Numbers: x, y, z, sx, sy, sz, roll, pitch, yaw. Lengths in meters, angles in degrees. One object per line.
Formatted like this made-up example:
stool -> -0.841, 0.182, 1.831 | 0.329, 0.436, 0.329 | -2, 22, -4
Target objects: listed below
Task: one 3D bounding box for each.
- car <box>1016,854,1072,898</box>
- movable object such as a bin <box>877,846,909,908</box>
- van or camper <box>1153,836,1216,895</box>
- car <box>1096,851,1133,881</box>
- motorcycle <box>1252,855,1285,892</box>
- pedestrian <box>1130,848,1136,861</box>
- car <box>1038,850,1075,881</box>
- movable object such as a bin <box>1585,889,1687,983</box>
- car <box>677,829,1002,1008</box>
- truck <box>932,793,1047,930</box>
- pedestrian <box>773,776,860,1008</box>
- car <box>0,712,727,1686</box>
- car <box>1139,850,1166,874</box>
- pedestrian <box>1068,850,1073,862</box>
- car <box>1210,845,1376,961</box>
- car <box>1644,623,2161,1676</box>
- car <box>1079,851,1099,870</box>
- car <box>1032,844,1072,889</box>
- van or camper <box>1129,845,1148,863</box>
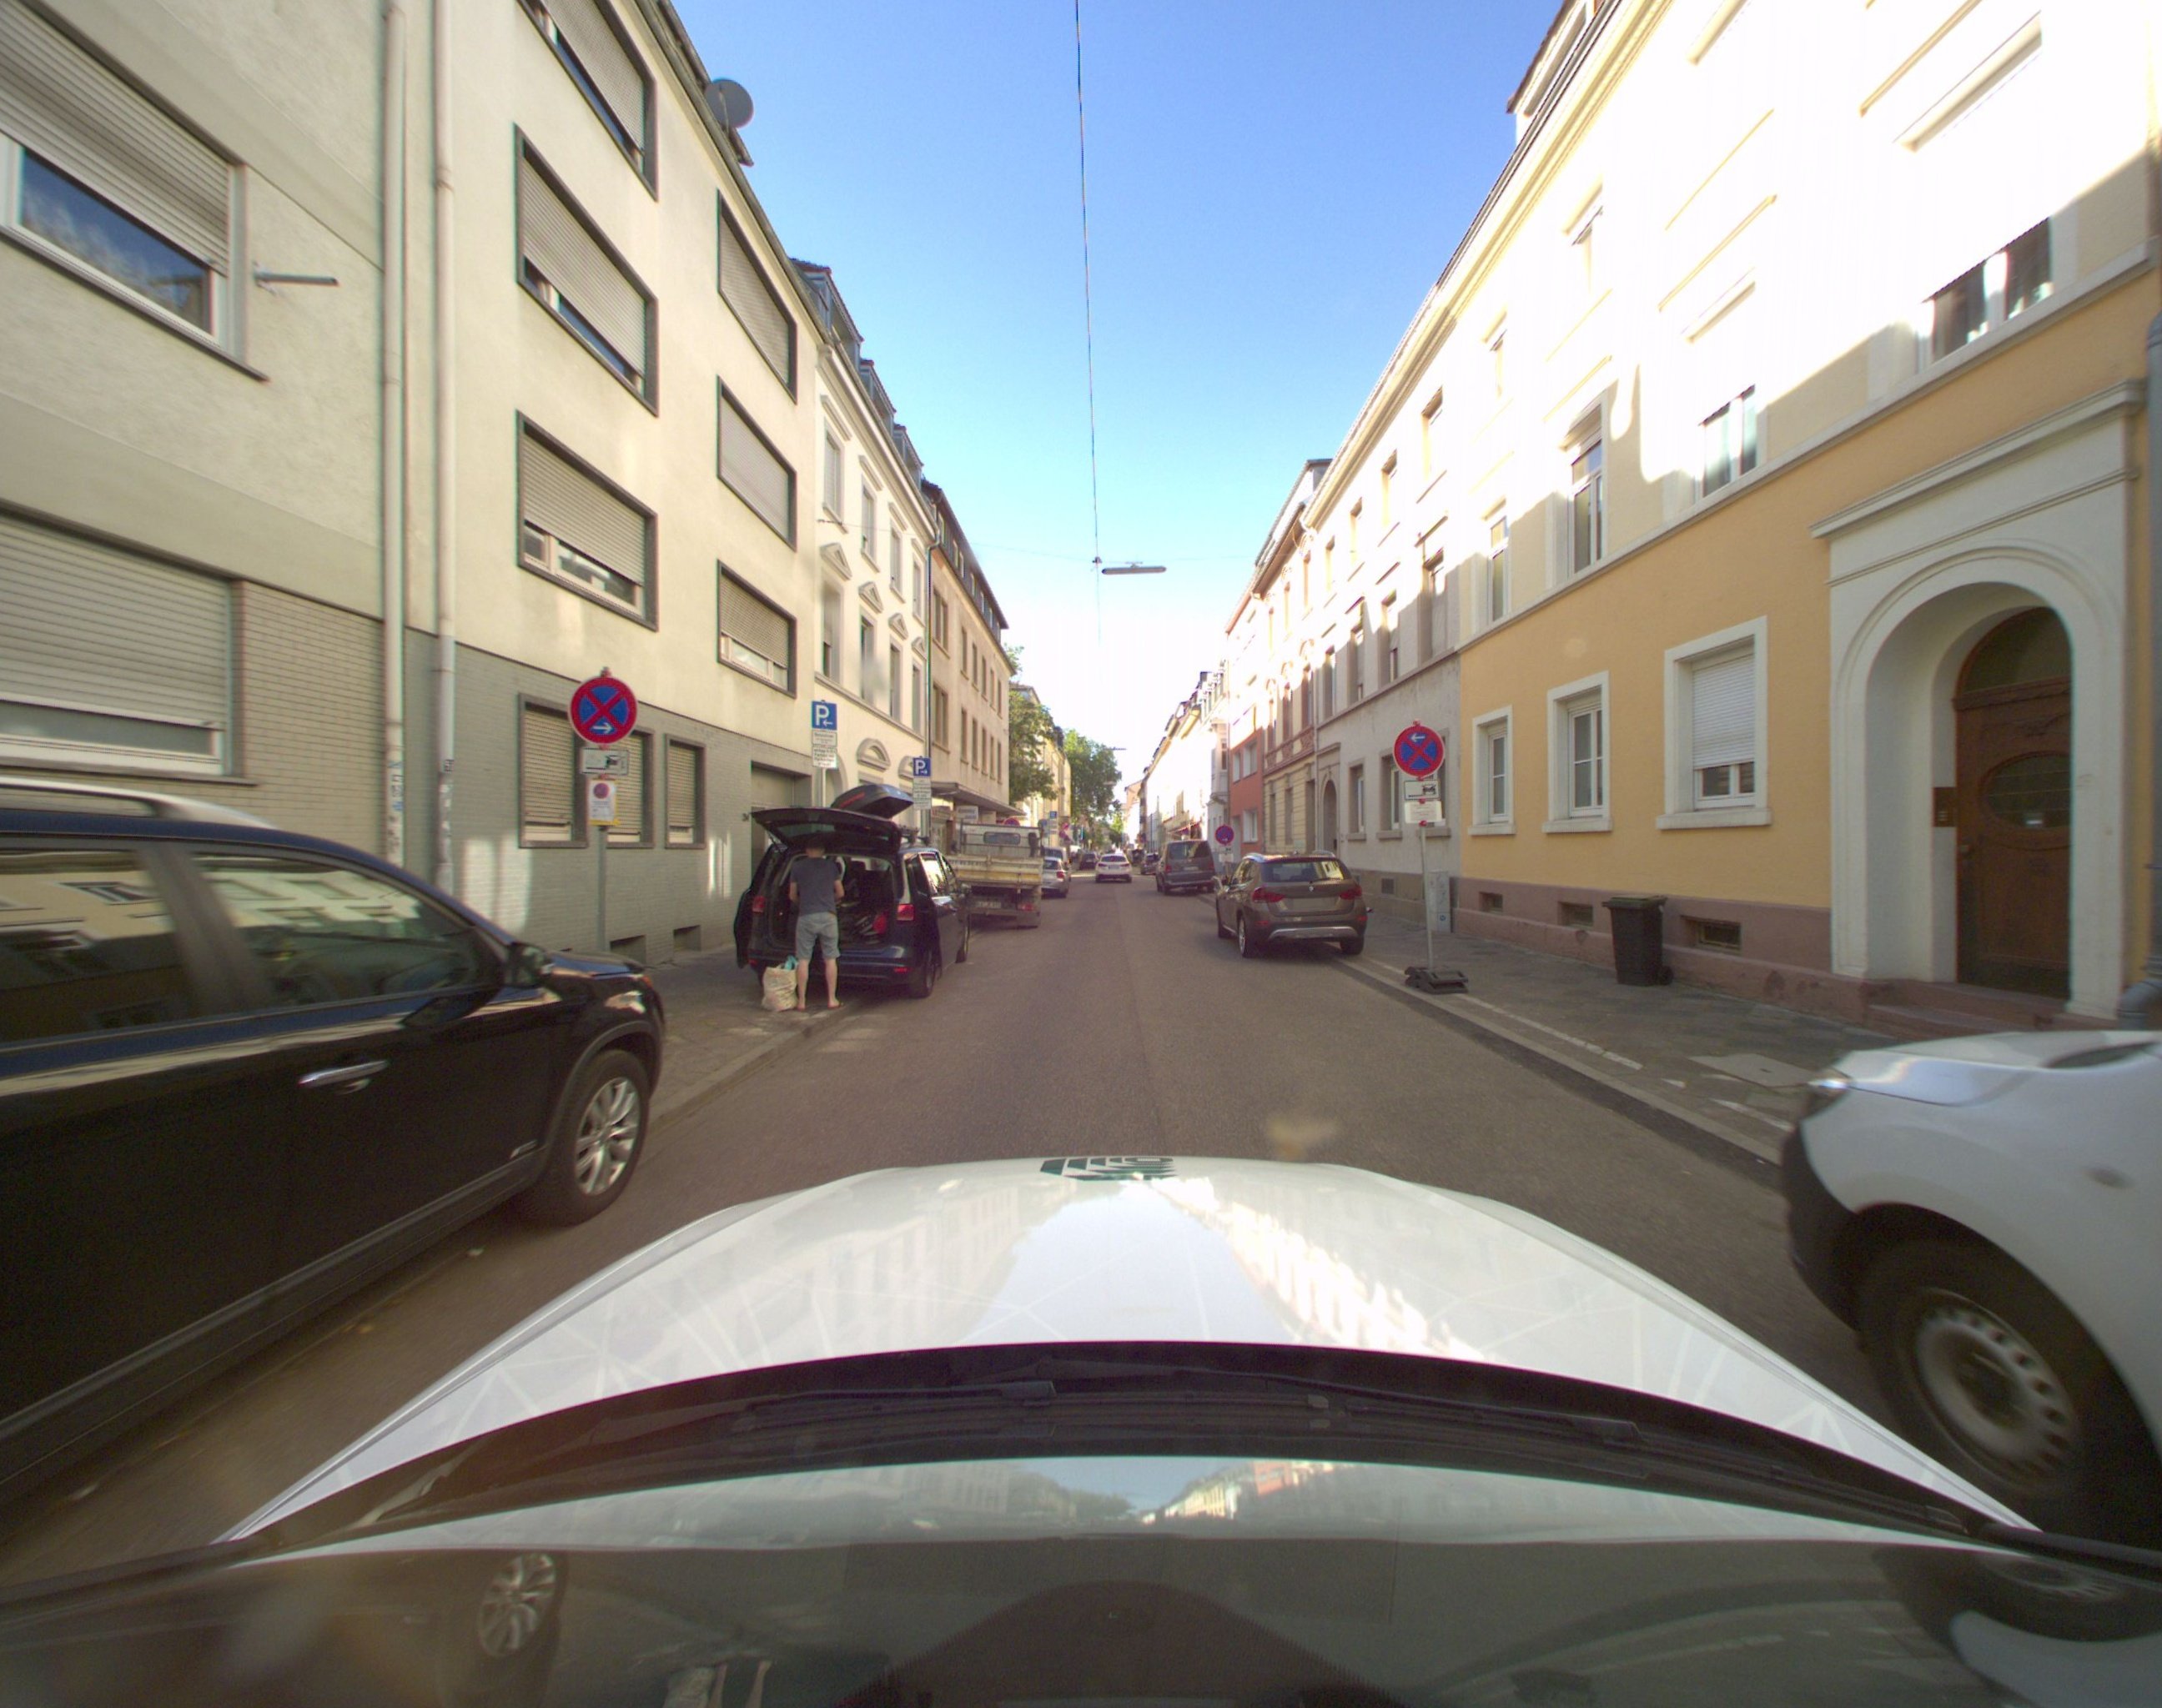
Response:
car -> -1.295, 0.740, 29.707 | 1.752, 1.415, 4.000 | -2, 0, 1
movable object such as a bin -> -4.721, 0.560, 20.427 | 0.637, 1.532, 0.587 | 0, 0, 2
van or camper -> 3.865, 0.394, 31.211 | 1.769, 2.036, 4.569 | -2, 0, 0
car -> 1.749, 0.573, 41.811 | 1.826, 1.486, 4.060 | 0, 0, 3
motorcycle -> 6.533, 0.643, 28.467 | 0.594, 1.186, 2.763 | -5, 0, 4
pedestrian -> 6.023, 0.035, 94.761 | 0.625, 1.464, 0.575 | -1, -1, 2
car -> -1.251, 0.568, 42.666 | 1.640, 1.576, 3.681 | 0, 0, 2
movable object such as a bin -> 5.907, 0.856, 8.698 | 0.651, 0.936, 0.642 | 0, 0, -1
car -> -2.578, 0.601, 10.436 | 2.432, 1.705, 5.245 | 0, 0, 2
truck -> -1.876, 0.187, 18.648 | 2.152, 2.590, 6.243 | -1, -1, -3
pedestrian -> -2.651, 0.370, 8.222 | 0.616, 2.229, 0.688 | -1, -1, 2
car -> -2.870, 0.573, 2.180 | 1.874, 1.755, 4.540 | 3, 1, -2
car -> 4.867, 0.543, 55.714 | 1.640, 1.576, 3.681 | 0, 0, 2
pedestrian -> -1.312, 0.279, 99.930 | 0.625, 1.464, 0.575 | -1, -1, 2
car -> 3.268, 0.651, 13.427 | 1.733, 1.577, 4.379 | 0, 1, 2
car -> 2.886, 0.547, 0.762 | 1.776, 1.961, 4.336 | 0, 0, 1
car -> 0.740, 0.507, 71.001 | 1.618, 1.597, 3.582 | 0, 0, 2
car -> -1.231, 0.500, 35.605 | 1.642, 1.867, 3.999 | 0, 0, -1
van or camper -> 6.590, 0.031, 93.437 | 1.986, 1.926, 4.002 | -1, -1, 2
